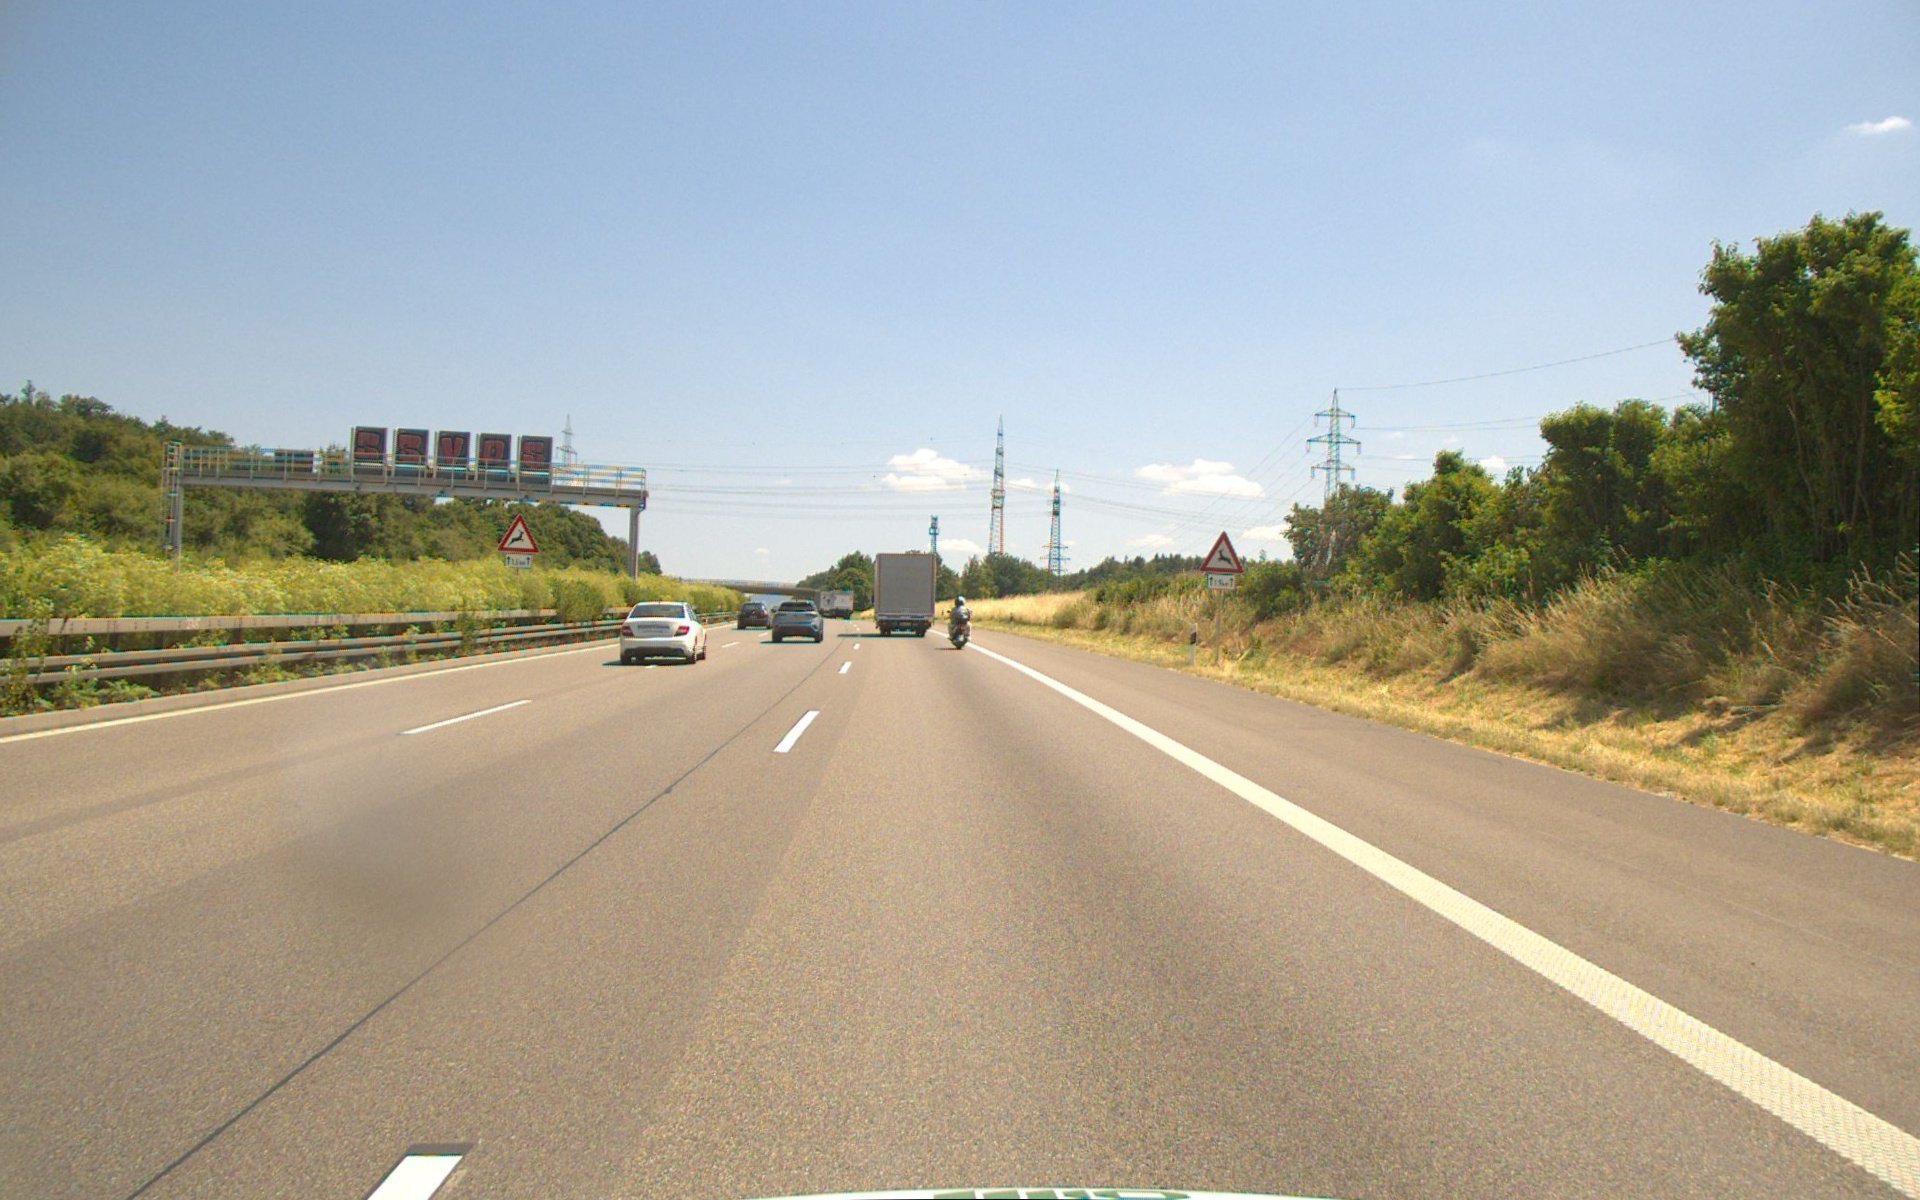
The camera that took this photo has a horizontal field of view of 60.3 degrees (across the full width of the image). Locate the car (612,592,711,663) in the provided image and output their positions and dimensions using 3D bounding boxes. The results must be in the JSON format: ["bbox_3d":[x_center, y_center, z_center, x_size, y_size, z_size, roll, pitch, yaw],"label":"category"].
[{"bbox_3d":[-6.995,0.614,39.111,1.783,1.567,3.912,0,1,-3],"label":"car"}]

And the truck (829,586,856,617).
[{"bbox_3d":[-15.373,0.230,216.557,3.416,3.981,7.283,0,0,-4],"label":"truck"}]

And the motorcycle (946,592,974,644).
[{"bbox_3d":[-0.012,0.579,53.209,0.793,1.635,1.781,0,0,-3],"label":"motorcycle"}]

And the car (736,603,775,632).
[{"bbox_3d":[-10.911,0.917,88.593,1.721,1.454,3.999,0,1,-2],"label":"car"}]

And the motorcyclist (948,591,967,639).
[{"bbox_3d":[-0.074,0.476,53.208,0.561,1.505,0.700,0,0,-3],"label":"motorcyclist"}]

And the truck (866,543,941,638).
[{"bbox_3d":[-2.607,-0.409,74.689,3.157,3.993,9.055,0,0,-3],"label":"truck"}]

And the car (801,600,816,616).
[{"bbox_3d":[-19.096,1.009,209.166,1.864,1.959,3.996,0,1,-5],"label":"car"}]

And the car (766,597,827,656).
[{"bbox_3d":[-5.899,0.930,60.181,1.953,2.049,3.999,0,1,-2],"label":"car"}]
